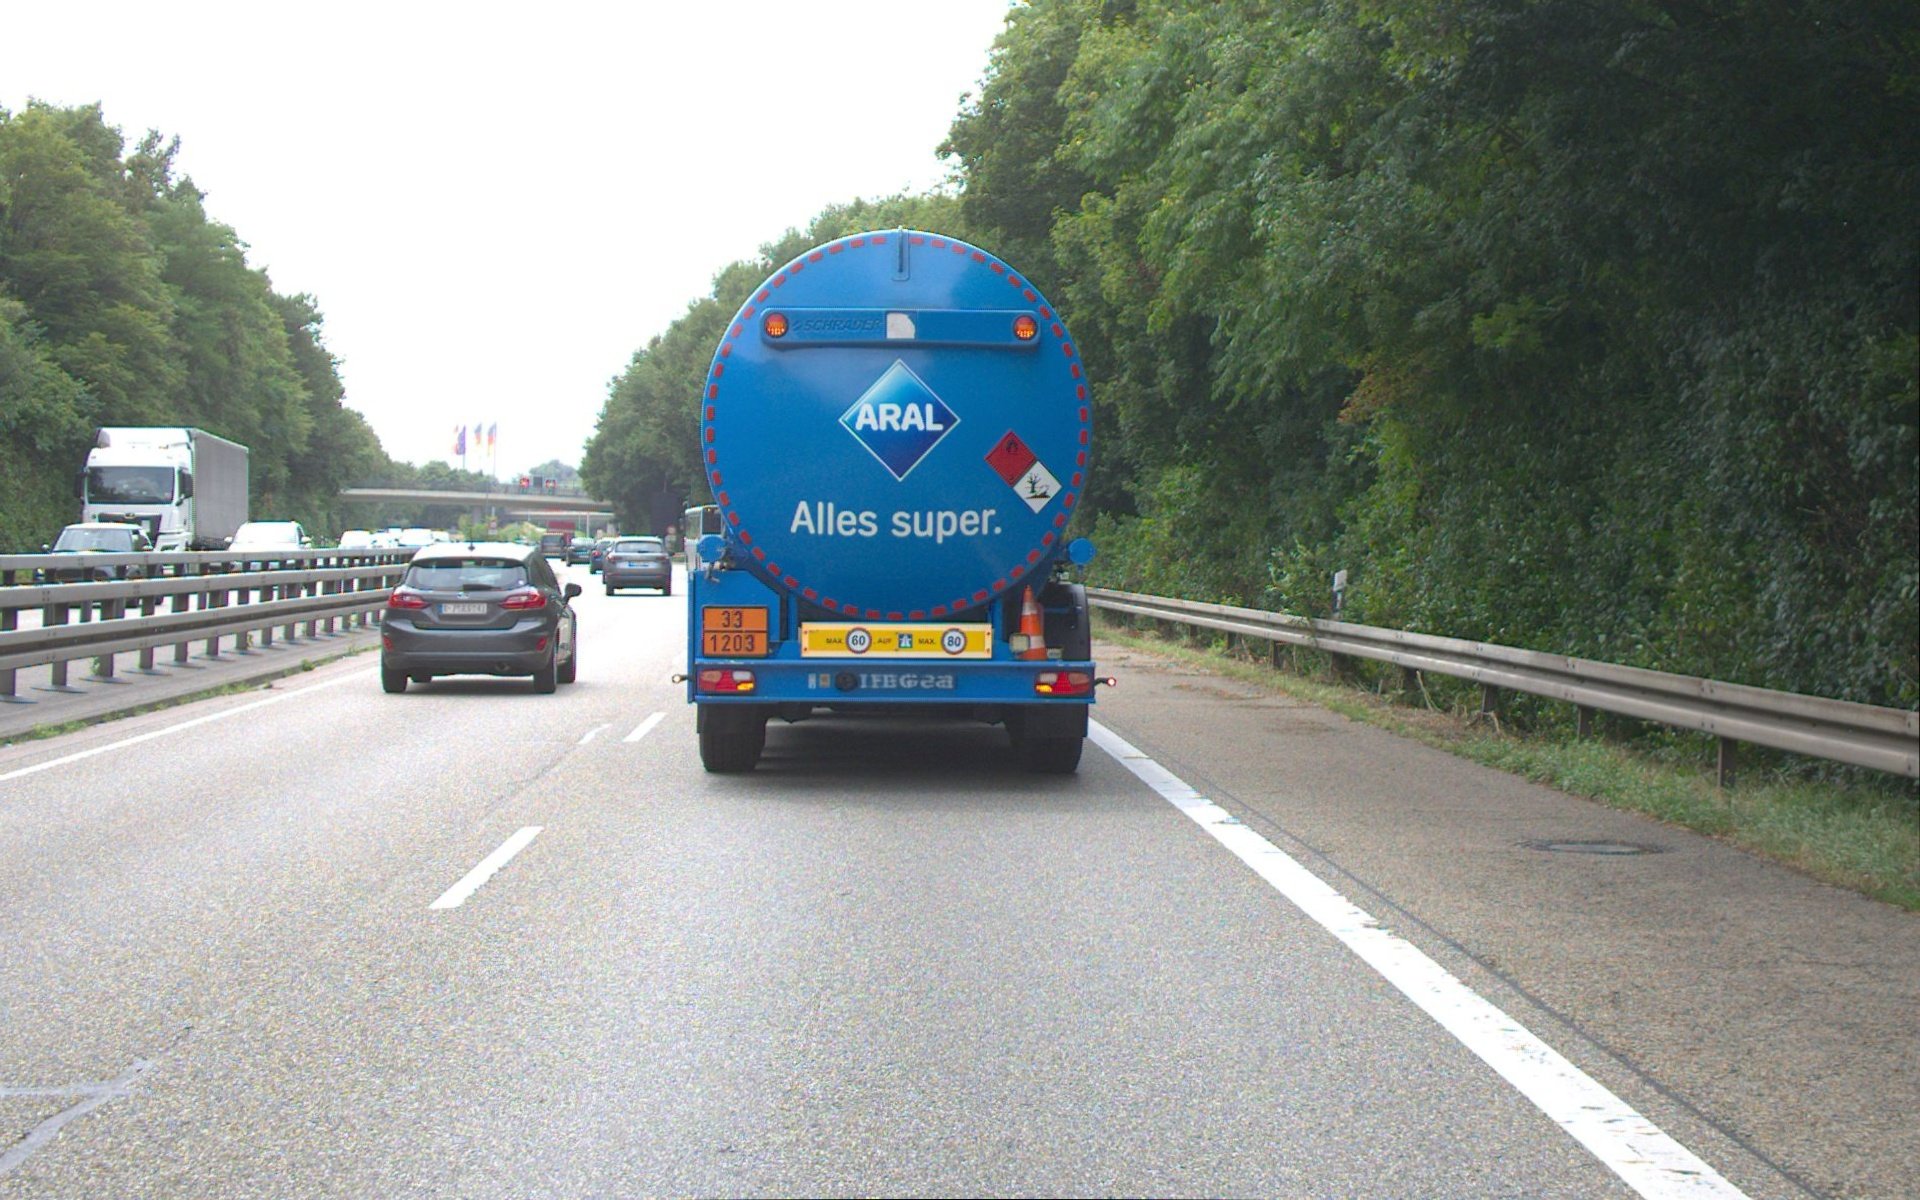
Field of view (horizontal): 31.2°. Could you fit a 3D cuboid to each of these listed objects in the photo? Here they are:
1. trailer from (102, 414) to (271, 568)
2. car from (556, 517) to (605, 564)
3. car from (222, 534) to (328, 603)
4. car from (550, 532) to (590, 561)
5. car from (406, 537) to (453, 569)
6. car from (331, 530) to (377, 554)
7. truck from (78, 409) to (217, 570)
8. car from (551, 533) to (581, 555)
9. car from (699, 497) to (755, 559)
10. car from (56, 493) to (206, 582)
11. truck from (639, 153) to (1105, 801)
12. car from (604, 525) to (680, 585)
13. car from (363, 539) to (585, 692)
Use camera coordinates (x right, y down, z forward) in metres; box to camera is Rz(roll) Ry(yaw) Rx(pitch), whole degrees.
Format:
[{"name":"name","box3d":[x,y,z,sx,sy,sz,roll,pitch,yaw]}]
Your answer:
[{"name":"trailer","box3d":[-21.529,-2.952,96.421,2.663,4.032,12.874,0,1,-4]},{"name":"car","box3d":[-16.251,-2.538,146.957,1.993,2.007,4.001,0,1,-8]},{"name":"car","box3d":[-15.760,-0.742,79.302,1.792,1.544,4.129,0,1,-2]},{"name":"car","box3d":[-20.931,-2.862,184.579,1.955,1.562,4.001,0,1,-4]},{"name":"car","box3d":[-23.420,-2.085,151.880,1.643,1.384,4.291,0,1,-3]},{"name":"car","box3d":[-29.520,-2.822,167.574,1.742,1.185,4.291,0,1,-3]},{"name":"truck","box3d":[-21.073,-2.825,89.379,2.692,4.049,5.323,0,1,-4]},{"name":"car","box3d":[-28.099,-4.029,245.427,1.993,1.546,4.001,0,1,-5]},{"name":"car","box3d":[-8.600,-2.651,127.123,1.993,2.237,4.001,0,1,-3]},{"name":"car","box3d":[-13.820,-1.039,57.472,1.708,1.441,3.777,0,1,-2]},{"name":"truck","box3d":[-0.558,-0.810,24.205,2.755,3.833,7.689,0,1,-1]},{"name":"car","box3d":[-8.687,-1.227,93.781,1.826,1.604,4.168,0,1,-9]},{"name":"car","box3d":[-4.885,0.113,35.086,1.826,1.453,4.640,0,1,-3]}]
